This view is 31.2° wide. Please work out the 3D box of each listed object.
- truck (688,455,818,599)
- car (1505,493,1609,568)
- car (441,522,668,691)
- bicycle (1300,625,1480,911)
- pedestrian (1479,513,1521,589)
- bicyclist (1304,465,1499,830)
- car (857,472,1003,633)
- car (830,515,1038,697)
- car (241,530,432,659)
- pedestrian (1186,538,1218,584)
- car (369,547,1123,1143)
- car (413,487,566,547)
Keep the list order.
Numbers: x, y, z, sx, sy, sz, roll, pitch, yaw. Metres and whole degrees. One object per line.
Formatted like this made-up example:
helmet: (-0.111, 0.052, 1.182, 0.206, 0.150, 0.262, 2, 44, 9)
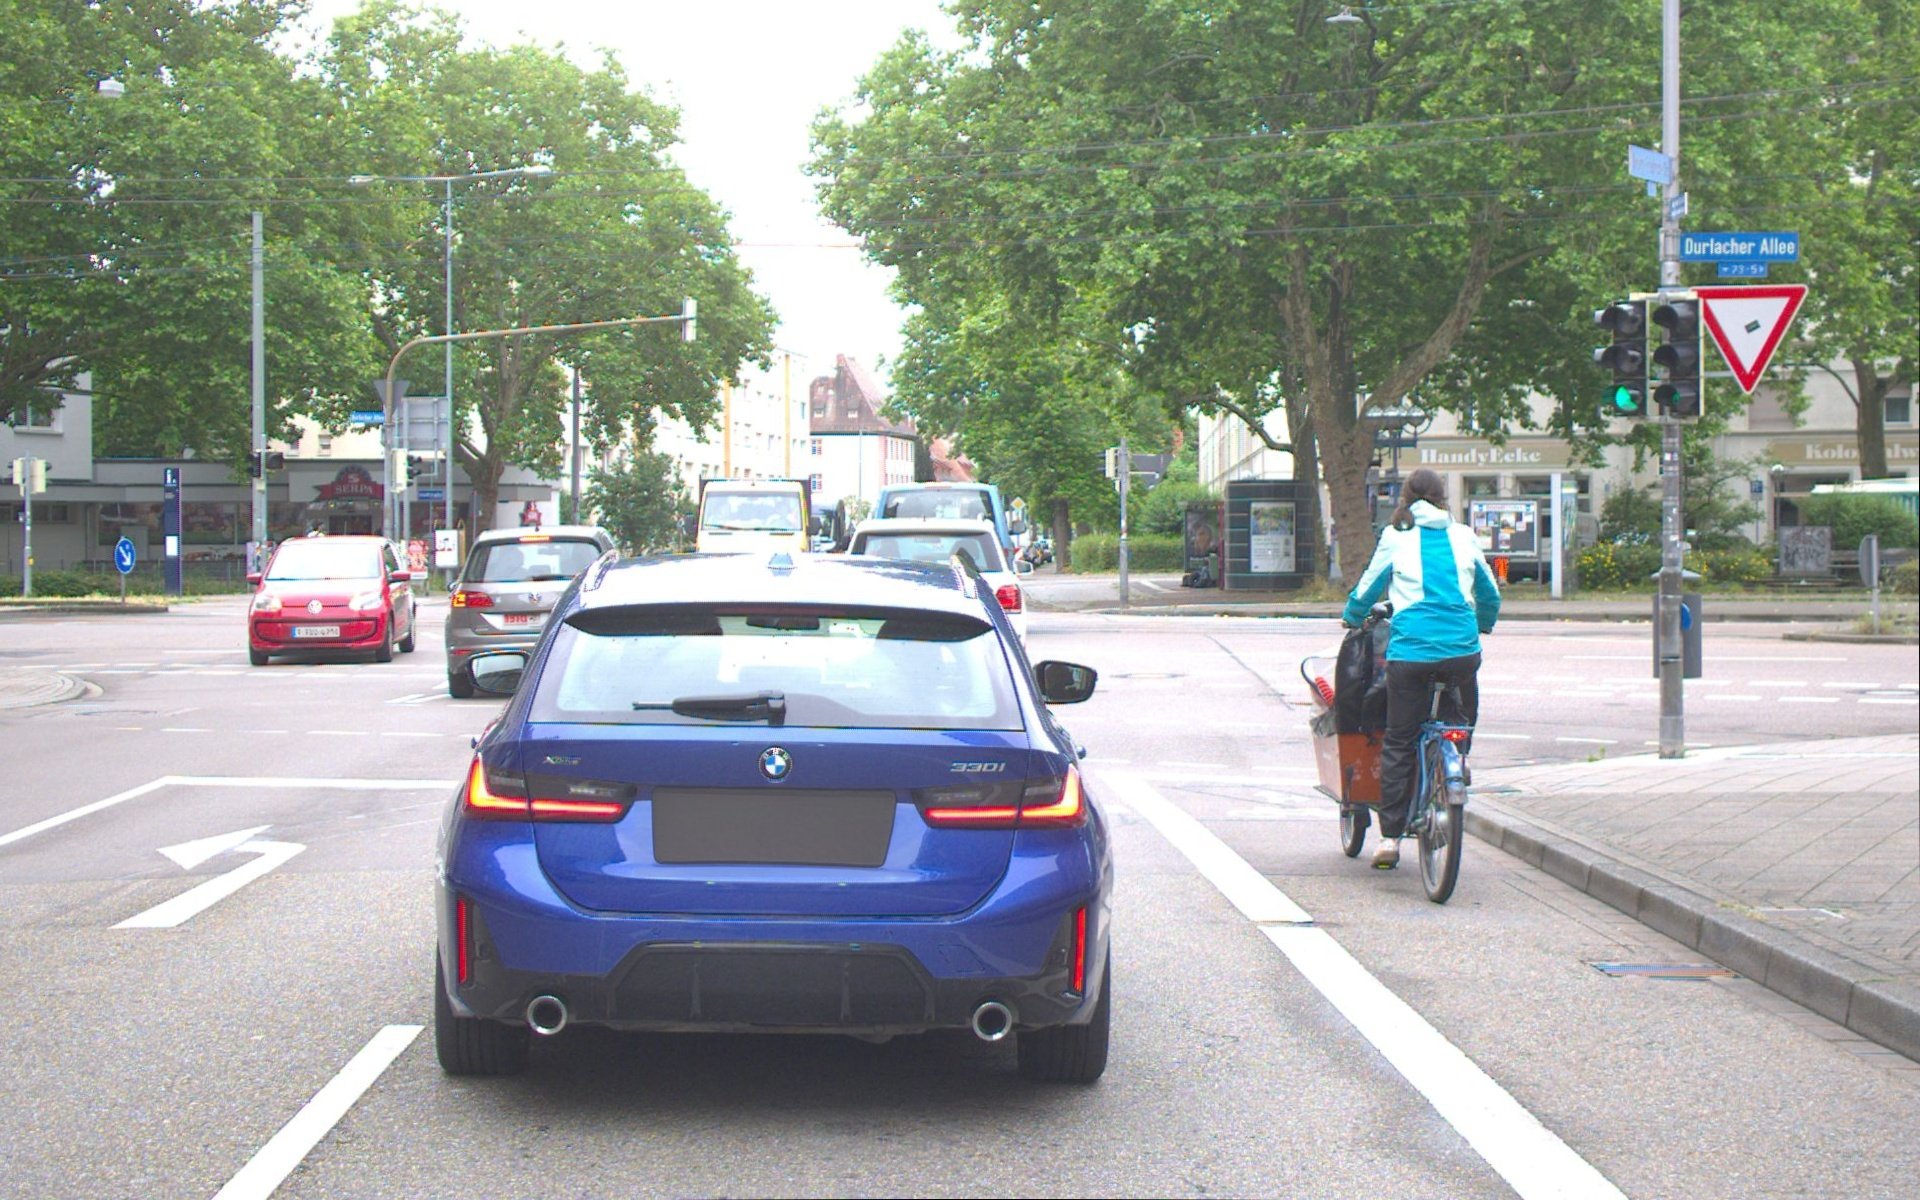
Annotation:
truck: (-3.612, -1.301, 60.903, 2.074, 2.400, 5.463, -1, 1, -1)
car: (17.859, -2.081, 102.705, 2.177, 2.193, 3.995, 0, 1, 24)
car: (-3.838, 0.014, 33.082, 1.732, 1.519, 4.000, 0, 1, -1)
bicycle: (1.853, 0.689, 15.034, 0.494, 1.094, 2.139, 0, 1, -1)
pedestrian: (12.413, -1.133, 79.078, 0.784, 1.737, 0.925, 0, 1, -2)
bicyclist: (1.887, 0.187, 14.813, 0.686, 1.512, 1.058, 0, 1, -1)
car: (-0.391, -0.637, 44.901, 1.815, 1.998, 4.000, 0, 1, -1)
car: (-0.246, 0.003, 32.203, 1.815, 1.586, 4.000, 0, 1, -1)
car: (-7.339, -0.103, 40.728, 1.649, 1.442, 3.511, 0, 1, -1)
pedestrian: (6.896, -1.106, 98.055, 0.853, 1.310, 0.763, 0, 1, 0)
car: (-0.538, 0.562, 10.491, 1.815, 1.400, 4.320, 0, 1, -1)
car: (-13.830, -2.425, 101.068, 3.987, 1.700, 2.000, 0, 1, -34)
